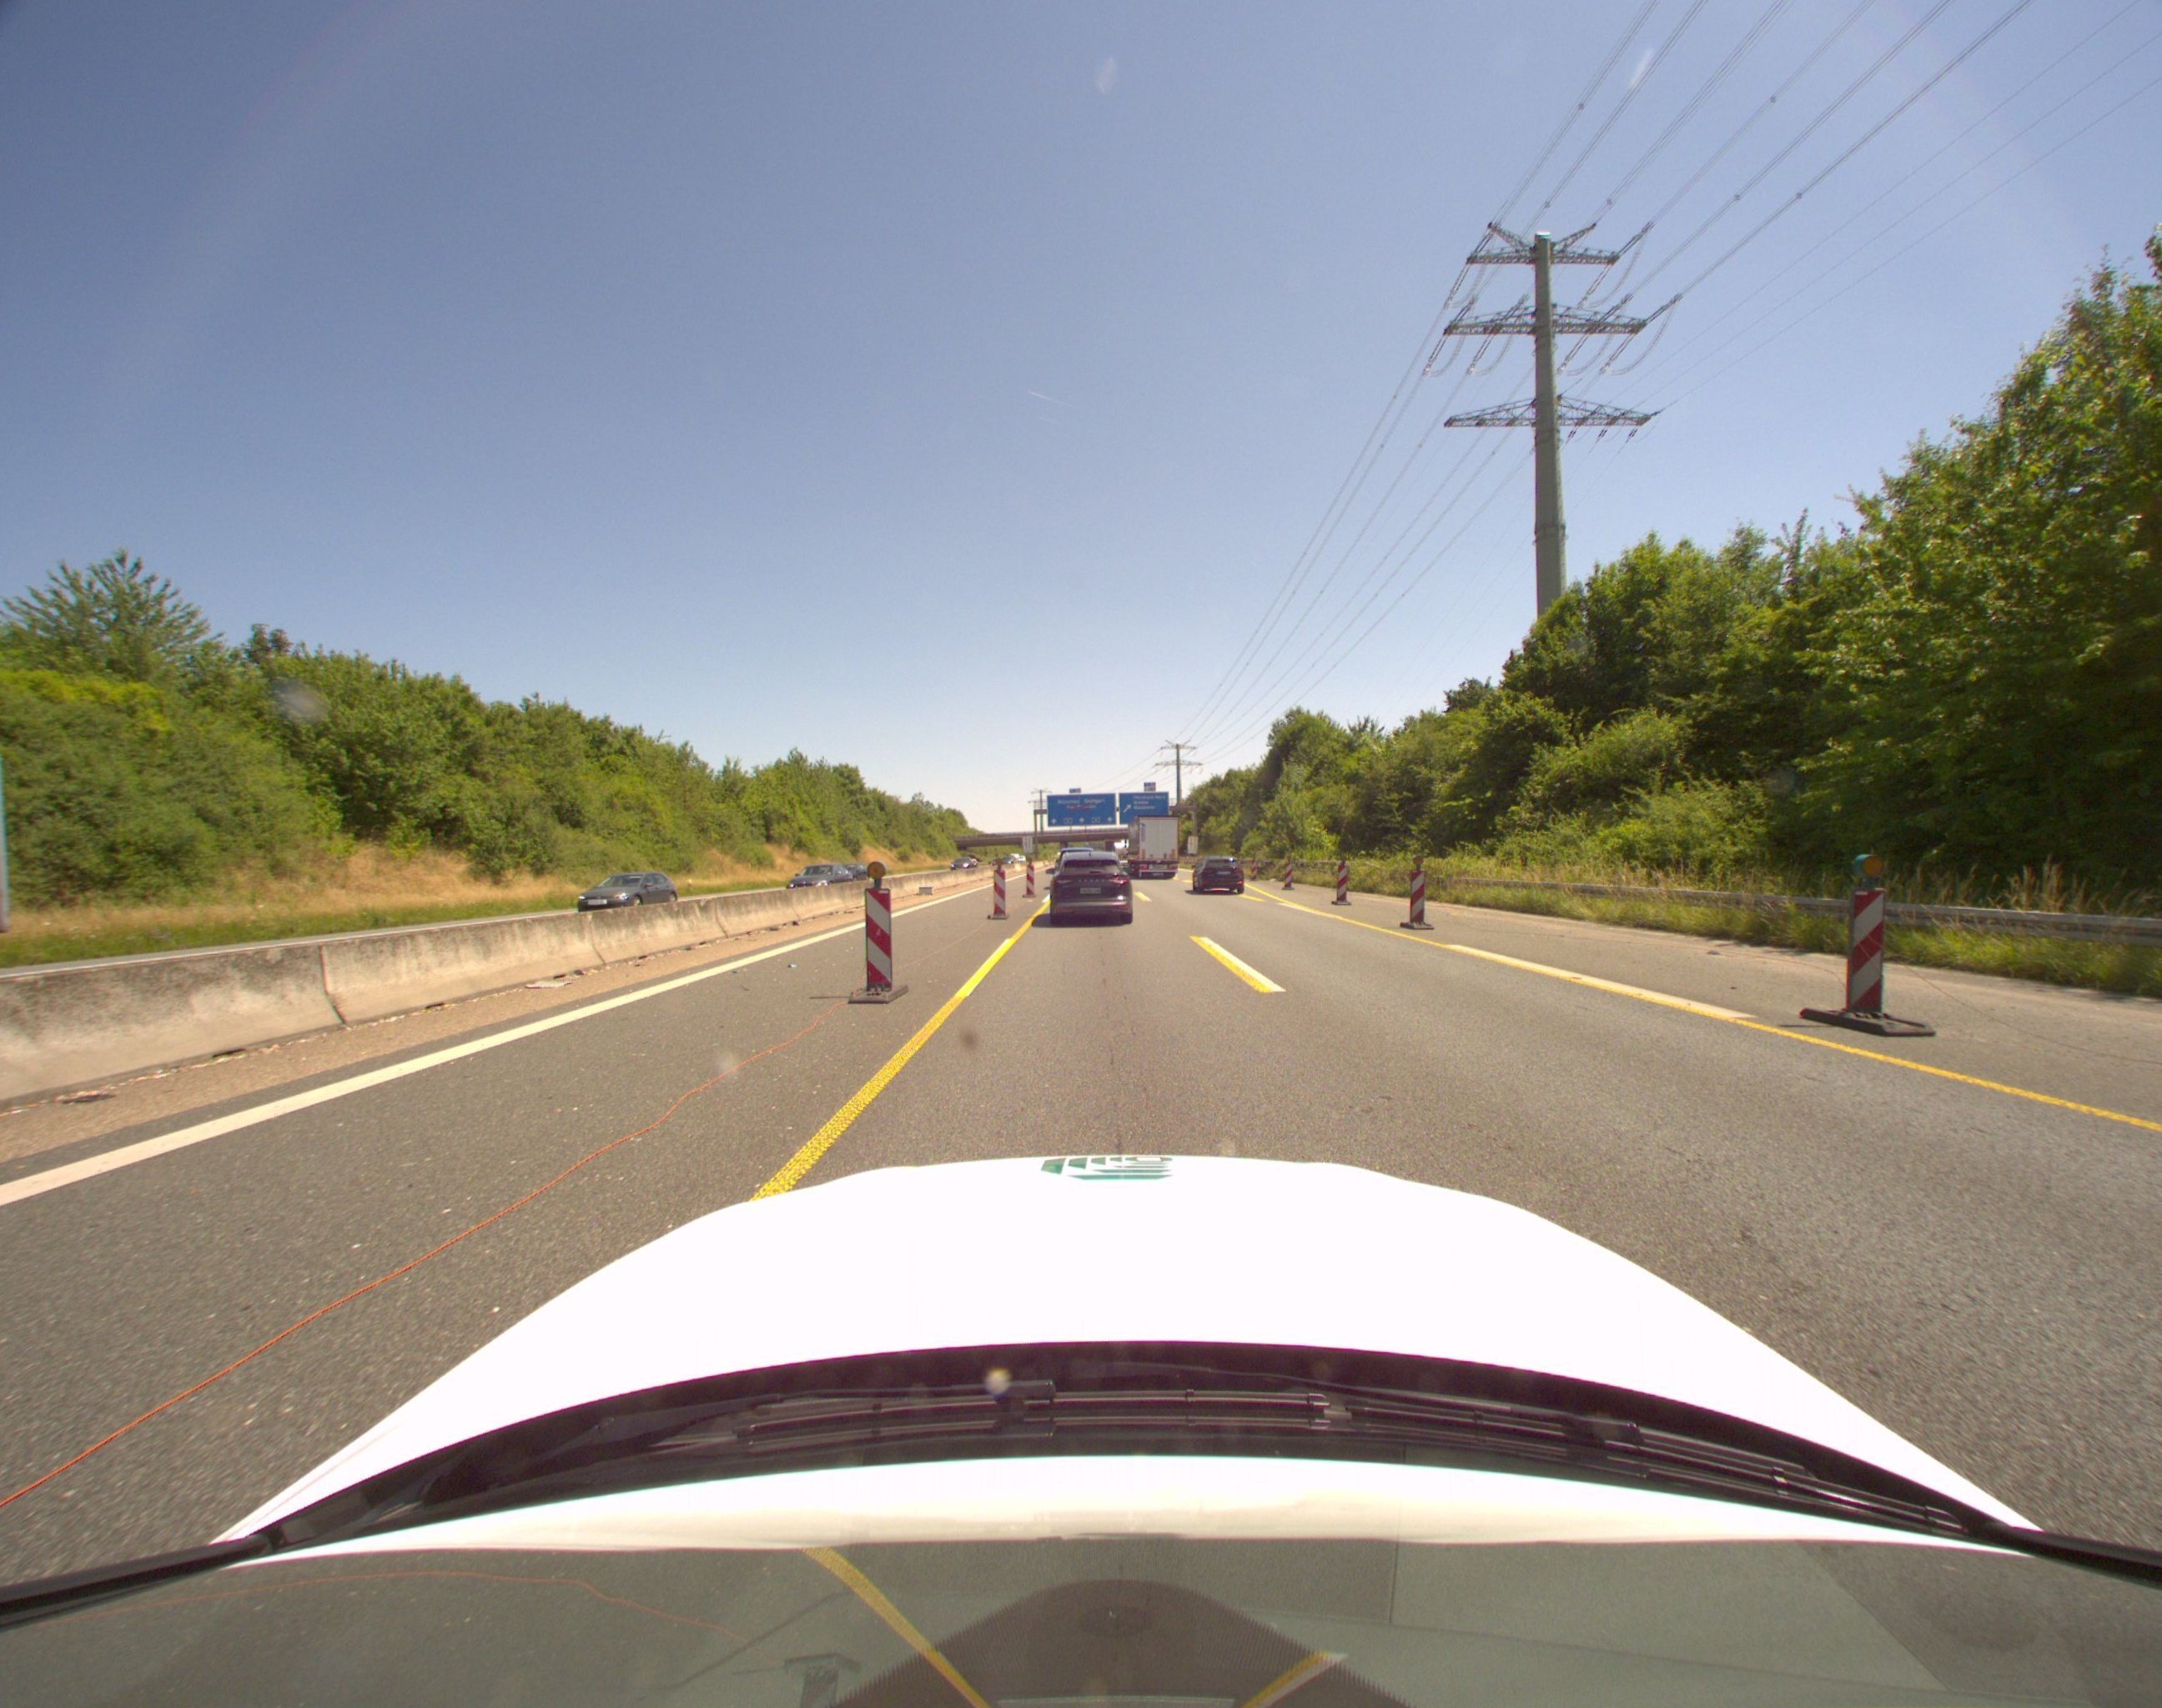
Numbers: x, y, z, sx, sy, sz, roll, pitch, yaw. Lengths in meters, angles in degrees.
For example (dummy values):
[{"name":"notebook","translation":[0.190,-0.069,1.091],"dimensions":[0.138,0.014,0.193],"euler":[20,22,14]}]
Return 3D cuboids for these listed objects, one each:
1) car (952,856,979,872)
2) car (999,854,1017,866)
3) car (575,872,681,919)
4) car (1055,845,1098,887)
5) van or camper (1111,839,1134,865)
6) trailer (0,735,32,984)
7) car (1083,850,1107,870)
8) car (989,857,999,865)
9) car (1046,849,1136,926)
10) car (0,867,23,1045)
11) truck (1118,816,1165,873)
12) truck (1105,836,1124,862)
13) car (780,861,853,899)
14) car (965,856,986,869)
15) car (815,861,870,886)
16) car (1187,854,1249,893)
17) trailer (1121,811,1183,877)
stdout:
[{"name":"car","translation":[-10.757,0.916,76.155],"dimensions":[1.843,1.460,4.488],"euler":[-2,0,0]},{"name":"car","translation":[-10.352,0.895,115.256],"dimensions":[1.987,1.600,4.583],"euler":[-2,0,1]},{"name":"car","translation":[-15.779,1.398,28.595],"dimensions":[1.499,1.396,4.086],"euler":[-2,0,-2]},{"name":"car","translation":[-0.221,0.539,38.868],"dimensions":[1.890,1.841,4.441],"euler":[-1,0,0]},{"name":"van or camper","translation":[4.994,-0.241,99.213],"dimensions":[2.577,2.968,6.087],"euler":[3,0,2]},{"name":"trailer","translation":[-19.064,0.164,6.747],"dimensions":[2.944,4.061,13.634],"euler":[-3,0,0]},{"name":"car","translation":[1.180,0.501,69.832],"dimensions":[1.890,1.509,4.442],"euler":[1,2,0]},{"name":"car","translation":[-17.287,1.359,161.716],"dimensions":[1.494,1.548,4.001],"euler":[-2,0,1]},{"name":"car","translation":[0.203,0.693,19.266],"dimensions":[1.890,1.592,4.441],"euler":[0,0,0]},{"name":"car","translation":[-11.330,1.015,5.789],"dimensions":[1.836,1.714,4.394],"euler":[-2,0,0]},{"name":"truck","translation":[4.554,-0.666,62.805],"dimensions":[3.015,4.087,7.792],"euler":[-1,0,-1]},{"name":"truck","translation":[5.556,-0.722,136.345],"dimensions":[3.066,4.146,13.059],"euler":[0,0,2]},{"name":"car","translation":[-11.168,1.071,34.645],"dimensions":[1.610,1.442,3.992],"euler":[-2,0,2]},{"name":"car","translation":[-12.677,0.970,97.872],"dimensions":[1.843,1.460,4.488],"euler":[-2,0,0]},{"name":"car","translation":[-15.256,1.228,52.433],"dimensions":[1.986,1.460,4.589],"euler":[-2,0,2]},{"name":"car","translation":[5.417,0.735,32.790],"dimensions":[1.773,1.489,4.464],"euler":[0,0,0]},{"name":"trailer","translation":[4.635,-0.608,55.865],"dimensions":[3.056,4.042,11.483],"euler":[-1,0,-1]}]
